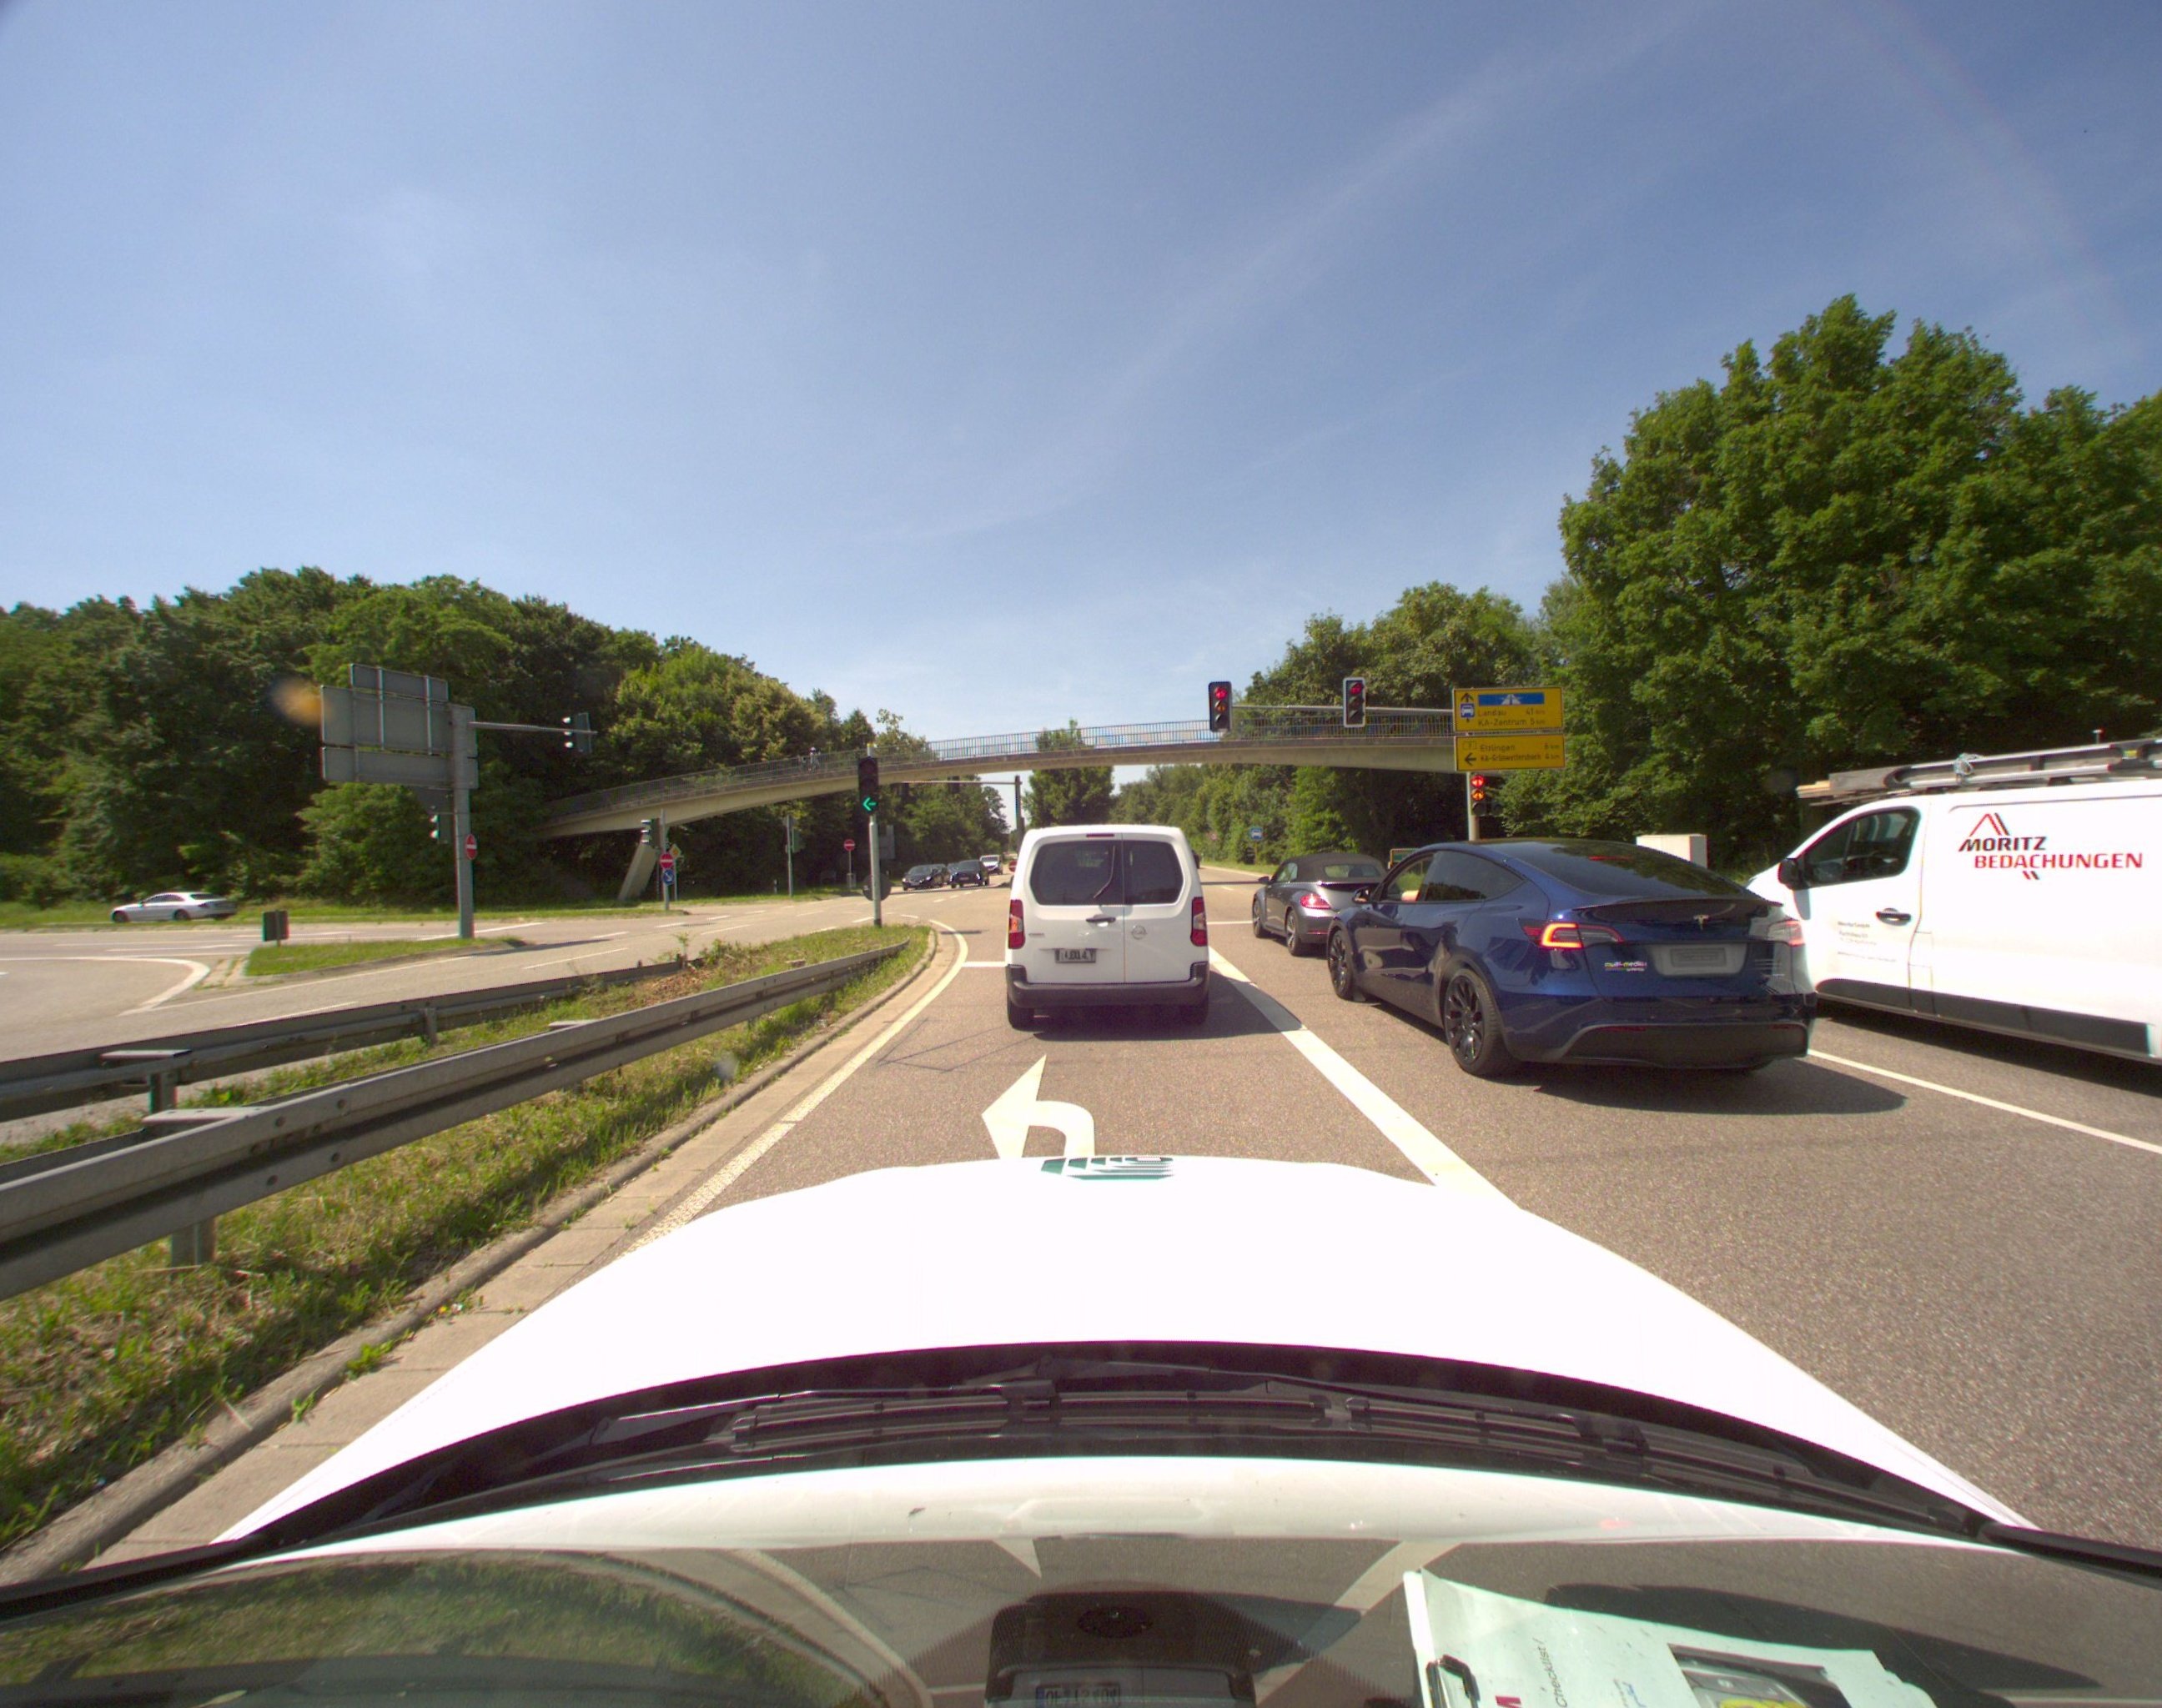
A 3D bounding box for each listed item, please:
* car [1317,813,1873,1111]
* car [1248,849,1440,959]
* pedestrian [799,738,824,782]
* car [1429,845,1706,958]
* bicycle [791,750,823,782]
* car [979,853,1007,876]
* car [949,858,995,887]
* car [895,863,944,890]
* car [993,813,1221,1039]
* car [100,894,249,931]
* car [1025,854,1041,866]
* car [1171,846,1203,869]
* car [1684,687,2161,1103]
[{"bbox_3d":[3.515,0.601,6.799,1.893,1.644,4.522,-1,0,2],"label":"car"},{"bbox_3d":[3.959,0.670,12.995,1.893,1.478,3.940,-1,0,2],"label":"car"},{"bbox_3d":[-14.152,-4.934,42.753,0.776,2.139,0.936,-4,-2,17],"label":"pedestrian"},{"bbox_3d":[7.374,0.631,12.969,1.893,1.478,4.382,-1,0,2],"label":"car"},{"bbox_3d":[-14.327,-4.593,42.555,1.514,1.474,0.472,-4,-2,17],"label":"bicycle"},{"bbox_3d":[-8.500,1.032,79.160,2.203,1.993,5.483,-3,0,-3],"label":"car"},{"bbox_3d":[-6.194,1.041,46.744,1.986,1.523,4.029,-2,0,2],"label":"car"},{"bbox_3d":[-9.729,1.323,49.398,2.001,1.460,4.057,-4,0,2],"label":"car"},{"bbox_3d":[0.247,0.564,8.627,1.843,1.825,3.982,-1,1,1],"label":"car"},{"bbox_3d":[-42.882,2.740,38.602,4.749,1.373,2.000,-3,0,1],"label":"car"},{"bbox_3d":[-8.280,1.013,140.862,2.200,1.993,4.735,-3,0,2],"label":"car"},{"bbox_3d":[8.495,0.230,65.586,2.033,1.699,5.090,-2,0,3],"label":"car"},{"bbox_3d":[7.092,0.226,5.787,1.925,2.349,5.076,-1,0,1],"label":"car"}]
